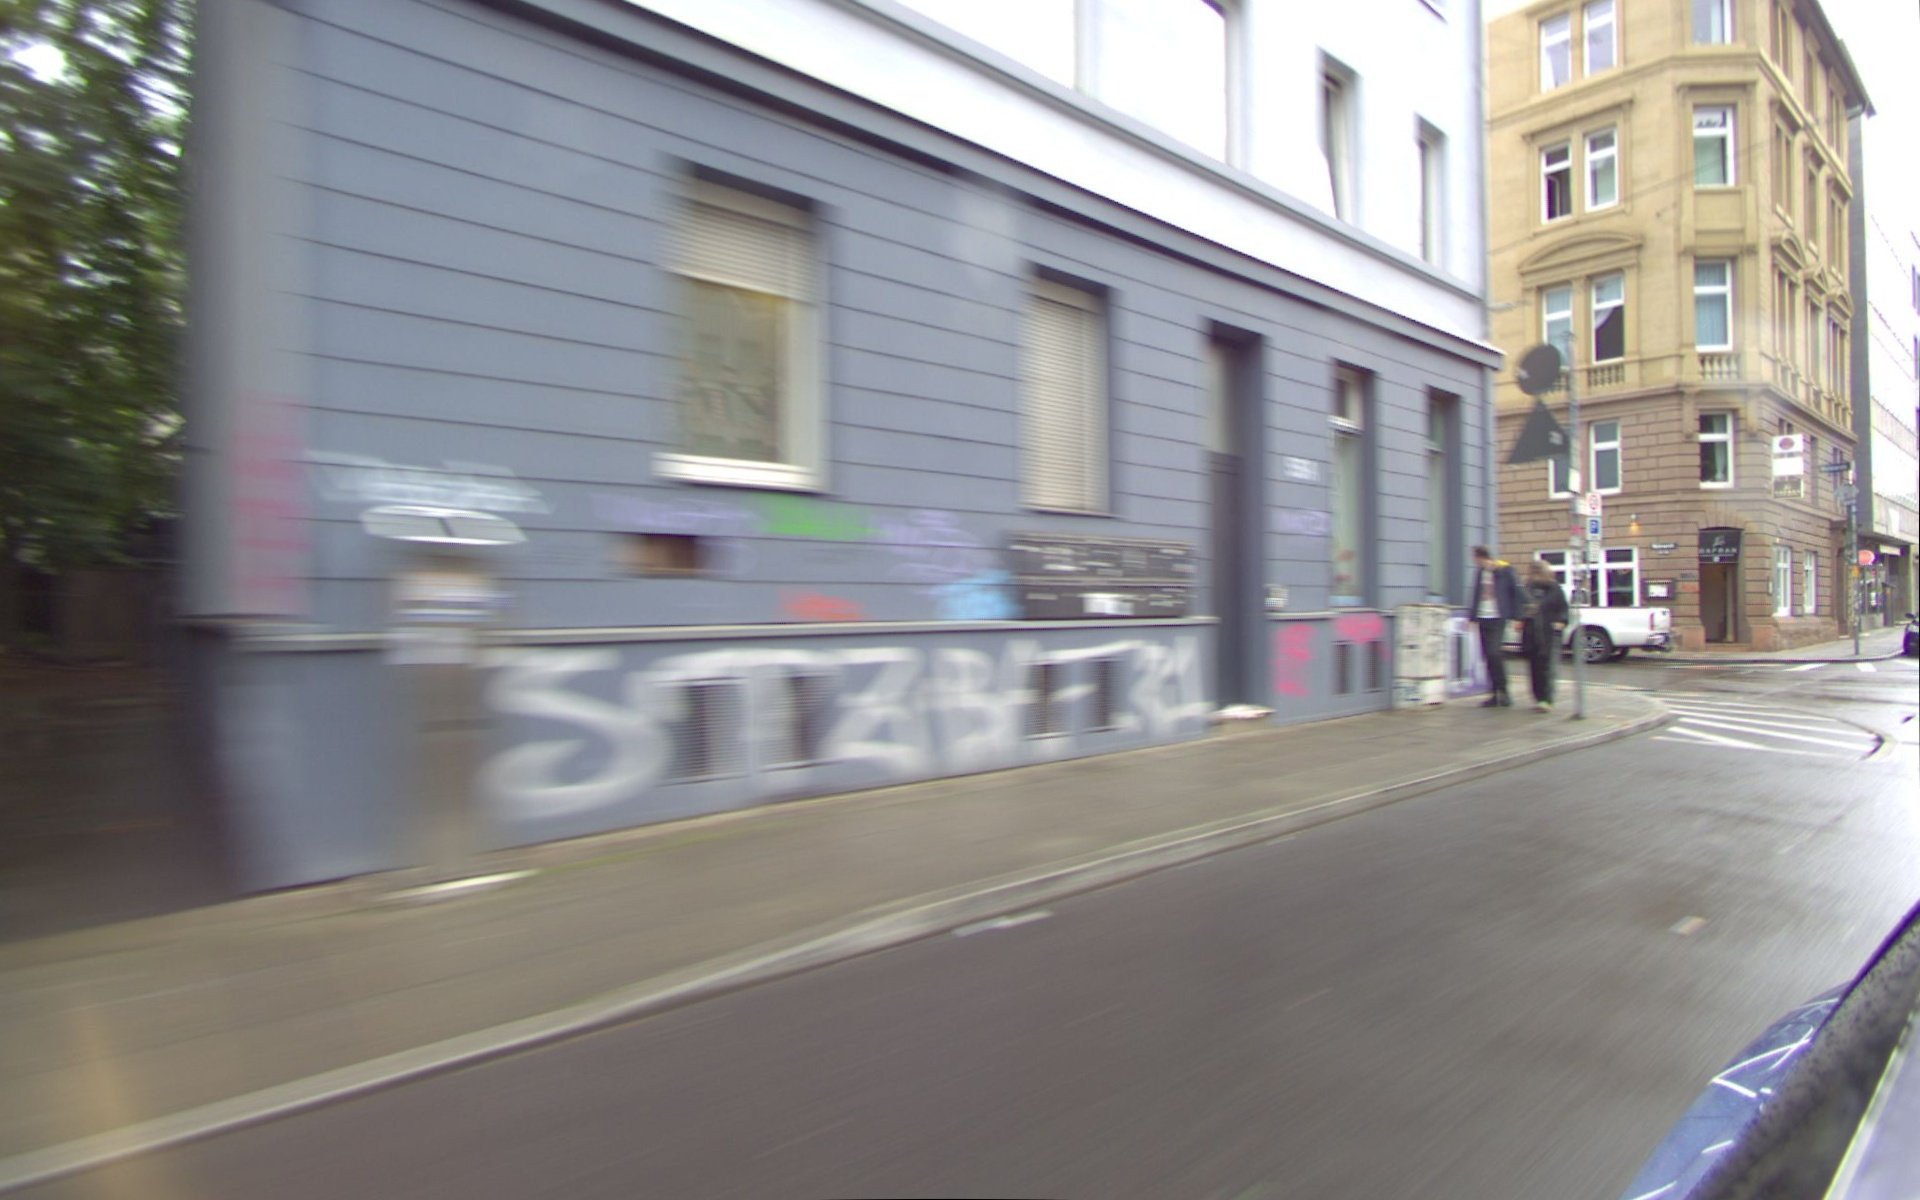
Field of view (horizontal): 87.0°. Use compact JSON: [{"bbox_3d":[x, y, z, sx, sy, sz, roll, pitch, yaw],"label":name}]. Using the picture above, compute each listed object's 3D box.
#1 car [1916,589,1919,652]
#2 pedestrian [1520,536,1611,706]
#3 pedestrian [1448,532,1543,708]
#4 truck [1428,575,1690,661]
[{"bbox_3d":[25.462,0.475,25.323,4.182,1.535,1.724,0,-1,-40],"label":"car"},{"bbox_3d":[7.028,0.236,11.749,0.807,1.876,0.662,0,-2,-41],"label":"pedestrian"},{"bbox_3d":[6.493,0.239,12.276,0.807,2.039,0.737,0,-2,-41],"label":"pedestrian"},{"bbox_3d":[14.250,0.387,24.322,2.049,1.841,5.064,0,0,-43],"label":"truck"}]
